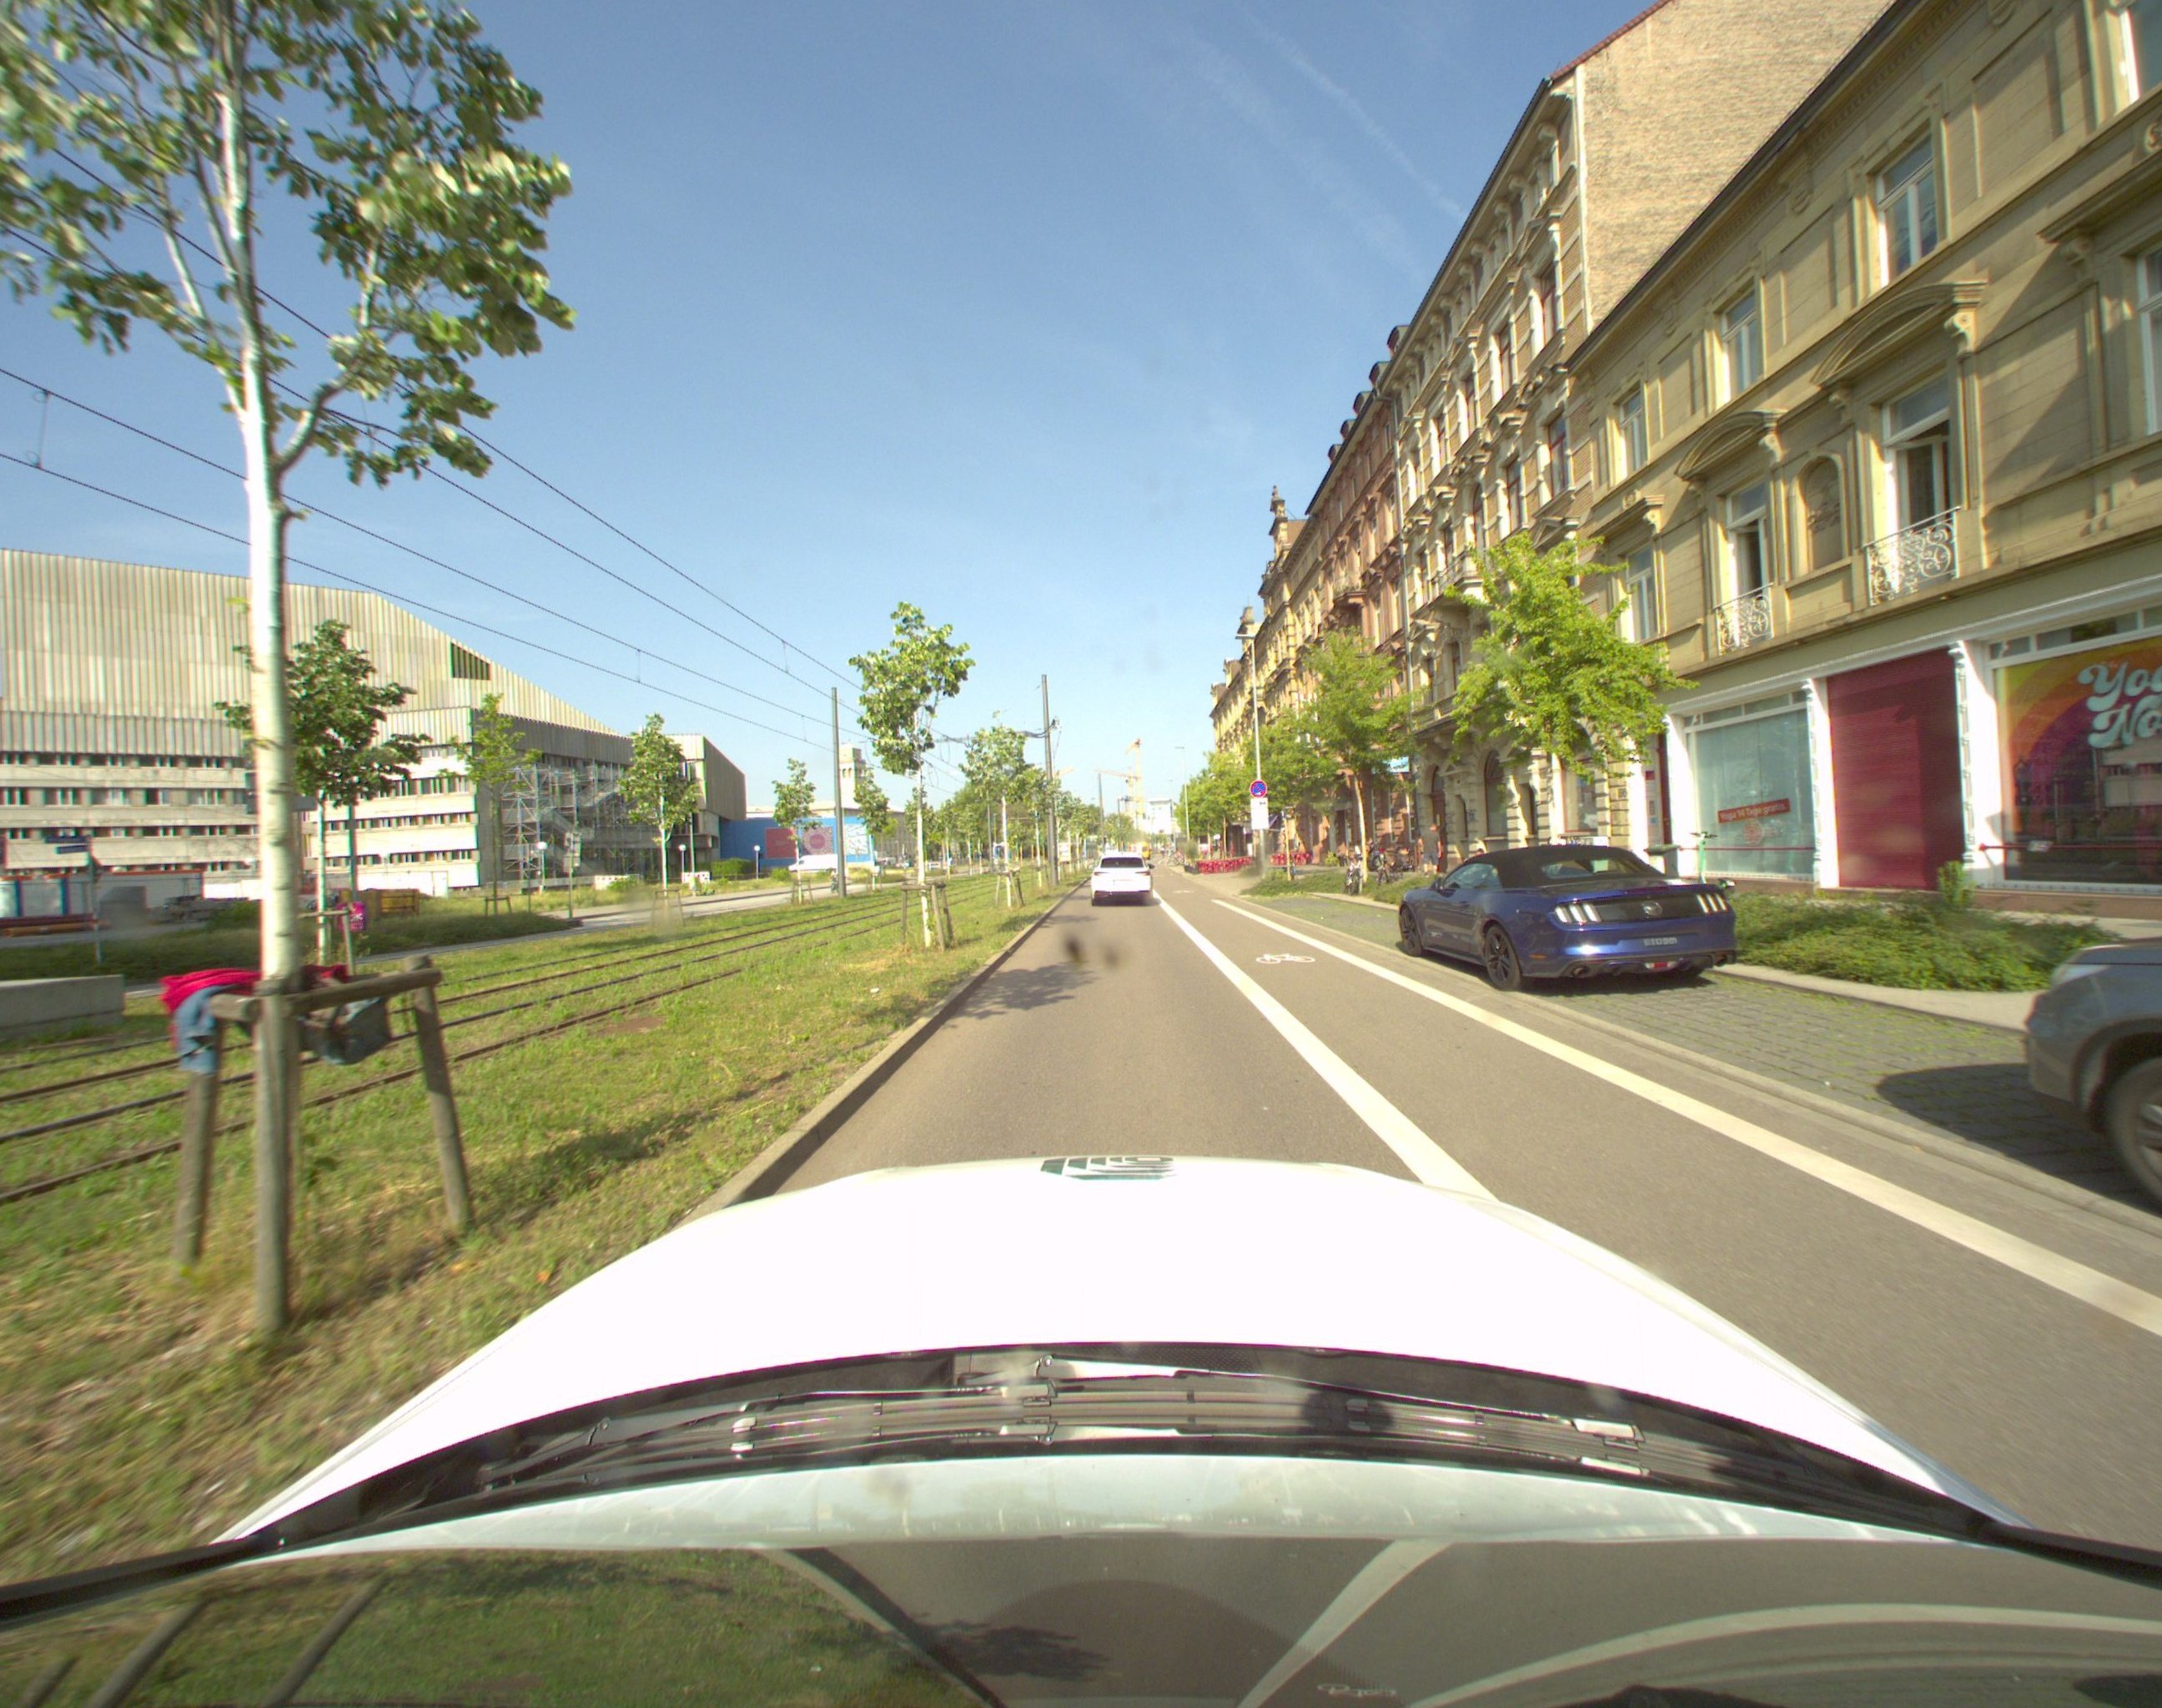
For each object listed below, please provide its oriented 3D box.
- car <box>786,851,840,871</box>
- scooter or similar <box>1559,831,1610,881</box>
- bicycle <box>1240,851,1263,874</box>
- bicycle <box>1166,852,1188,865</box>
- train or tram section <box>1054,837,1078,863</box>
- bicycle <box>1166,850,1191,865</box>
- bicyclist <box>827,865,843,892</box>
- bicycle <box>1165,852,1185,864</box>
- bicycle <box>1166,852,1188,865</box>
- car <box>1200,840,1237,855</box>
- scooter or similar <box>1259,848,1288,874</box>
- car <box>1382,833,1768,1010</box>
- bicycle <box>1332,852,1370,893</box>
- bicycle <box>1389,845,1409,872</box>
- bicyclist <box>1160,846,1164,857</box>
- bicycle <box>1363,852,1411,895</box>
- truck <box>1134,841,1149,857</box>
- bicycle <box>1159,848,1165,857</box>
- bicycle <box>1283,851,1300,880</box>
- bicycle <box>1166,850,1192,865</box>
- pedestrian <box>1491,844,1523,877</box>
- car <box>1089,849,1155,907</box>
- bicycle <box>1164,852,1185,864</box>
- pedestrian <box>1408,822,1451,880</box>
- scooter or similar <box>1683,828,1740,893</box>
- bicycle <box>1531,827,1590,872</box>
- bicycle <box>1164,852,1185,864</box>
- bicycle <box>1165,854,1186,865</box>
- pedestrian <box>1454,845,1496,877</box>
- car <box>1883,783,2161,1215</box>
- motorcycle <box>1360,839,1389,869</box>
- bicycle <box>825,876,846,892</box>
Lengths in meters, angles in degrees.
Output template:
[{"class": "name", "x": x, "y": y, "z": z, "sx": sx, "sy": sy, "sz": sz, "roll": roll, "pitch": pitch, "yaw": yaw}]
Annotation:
[{"class": "car", "x": -36.256, "y": 0.955, "z": 110.415, "sx": 6.895, "sy": 2.638, "sz": 2.498, "roll": 0, "pitch": -1, "yaw": -19}, {"class": "scooter or similar", "x": 11.901, "y": 0.051, "z": 19.284, "sx": 0.604, "sy": 1.125, "sz": 0.932, "roll": -3, "pitch": 0, "yaw": 2}, {"class": "bicycle", "x": 8.547, "y": 0.428, "z": 40.810, "sx": 0.594, "sy": 1.122, "sz": 1.923, "roll": -3, "pitch": 0, "yaw": -4}, {"class": "bicycle", "x": 8.870, "y": 0.416, "z": 75.035, "sx": 1.926, "sy": 0.986, "sz": 0.471, "roll": -5, "pitch": 0, "yaw": 4}, {"class": "train or tram section", "x": -2.159, "y": -0.595, "z": 123.327, "sx": 2.887, "sy": 3.586, "sz": 12.482, "roll": -3, "pitch": -1, "yaw": 2}, {"class": "bicycle", "x": 8.871, "y": 0.322, "z": 74.189, "sx": 2.229, "sy": 1.104, "sz": 0.519, "roll": -5, "pitch": 0, "yaw": 4}, {"class": "bicyclist", "x": -16.514, "y": 1.638, "z": 54.718, "sx": 0.644, "sy": 1.736, "sz": 0.919, "roll": -4, "pitch": -1, "yaw": 2}, {"class": "bicycle", "x": 9.151, "y": 0.399, "z": 79.361, "sx": 1.924, "sy": 0.945, "sz": 0.441, "roll": -5, "pitch": 0, "yaw": 6}, {"class": "bicycle", "x": 8.920, "y": 0.419, "z": 75.514, "sx": 1.946, "sy": 0.986, "sz": 0.471, "roll": -5, "pitch": 0, "yaw": 4}, {"class": "car", "x": 16.818, "y": -0.771, "z": 99.785, "sx": 4.329, "sy": 1.684, "sz": 2.005, "roll": -3, "pitch": 0, "yaw": 8}, {"class": "scooter or similar", "x": 9.356, "y": 0.334, "z": 39.653, "sx": 1.250, "sy": 1.157, "sz": 0.340, "roll": -5, "pitch": -1, "yaw": 6}, {"class": "car", "x": 5.071, "y": 0.568, "z": 9.304, "sx": 1.729, "sy": 1.396, "sz": 4.719, "roll": -4, "pitch": 0, "yaw": 4}, {"class": "bicycle", "x": 7.553, "y": 0.490, "z": 22.853, "sx": 0.490, "sy": 1.093, "sz": 1.828, "roll": -3, "pitch": 0, "yaw": 3}, {"class": "bicycle", "x": 12.340, "y": 0.166, "z": 31.595, "sx": 0.394, "sy": 1.018, "sz": 1.258, "roll": -3, "pitch": 0, "yaw": 8}, {"class": "bicyclist", "x": 14.165, "y": -0.392, "z": 142.361, "sx": 0.706, "sy": 1.895, "sz": 0.844, "roll": -3, "pitch": 0, "yaw": 4}, {"class": "bicycle", "x": 8.257, "y": 0.517, "z": 21.940, "sx": 0.449, "sy": 1.082, "sz": 1.889, "roll": -5, "pitch": -3, "yaw": 44}, {"class": "truck", "x": 9.251, "y": -0.713, "z": 124.136, "sx": 2.202, "sy": 2.318, "sz": 5.897, "roll": -3, "pitch": 0, "yaw": 5}, {"class": "bicycle", "x": 14.148, "y": -0.208, "z": 142.523, "sx": 0.778, "sy": 1.496, "sz": 2.804, "roll": -3, "pitch": 0, "yaw": 4}, {"class": "bicycle", "x": 8.435, "y": 0.462, "z": 32.655, "sx": 0.501, "sy": 1.060, "sz": 1.721, "roll": -5, "pitch": 0, "yaw": 17}, {"class": "bicycle", "x": 8.819, "y": 0.318, "z": 73.635, "sx": 2.229, "sy": 1.104, "sz": 0.589, "roll": -5, "pitch": 0, "yaw": 4}, {"class": "pedestrian", "x": 11.881, "y": 0.186, "z": 22.720, "sx": 0.569, "sy": 0.855, "sz": 0.457, "roll": -5, "pitch": 0, "yaw": -3}, {"class": "car", "x": 1.265, "y": 0.678, "z": 25.241, "sx": 1.810, "sy": 1.590, "sz": 4.409, "roll": -2, "pitch": 0, "yaw": 2}, {"class": "bicycle", "x": 9.095, "y": 0.396, "z": 78.883, "sx": 1.924, "sy": 0.945, "sz": 0.441, "roll": -5, "pitch": 0, "yaw": 6}, {"class": "pedestrian", "x": 10.680, "y": -0.097, "z": 24.963, "sx": 0.821, "sy": 1.696, "sz": 0.793, "roll": -5, "pitch": 0, "yaw": -2}, {"class": "scooter or similar", "x": 11.501, "y": 0.110, "z": 14.888, "sx": 0.287, "sy": 1.134, "sz": 1.091, "roll": -3, "pitch": 0, "yaw": 8}, {"class": "bicycle", "x": 12.065, "y": -0.114, "z": 20.542, "sx": 0.450, "sy": 1.083, "sz": 1.445, "roll": -3, "pitch": 0, "yaw": -7}, {"class": "bicycle", "x": 9.044, "y": 0.415, "z": 78.434, "sx": 1.924, "sy": 1.013, "sz": 0.441, "roll": -5, "pitch": 0, "yaw": 6}, {"class": "bicycle", "x": 8.919, "y": 0.538, "z": 76.747, "sx": 1.926, "sy": 0.874, "sz": 0.441, "roll": -5, "pitch": 0, "yaw": 4}, {"class": "pedestrian", "x": 11.804, "y": 0.195, "z": 24.420, "sx": 0.875, "sy": 0.876, "sz": 0.711, "roll": -5, "pitch": 0, "yaw": -1}, {"class": "car", "x": 4.840, "y": 0.484, "z": 1.842, "sx": 1.764, "sy": 1.588, "sz": 4.246, "roll": -4, "pitch": 0, "yaw": -1}, {"class": "motorcycle", "x": 11.984, "y": 0.010, "z": 33.305, "sx": 0.461, "sy": 1.175, "sz": 1.947, "roll": -5, "pitch": 0, "yaw": 3}, {"class": "bicycle", "x": -16.498, "y": 2.006, "z": 54.735, "sx": 0.659, "sy": 0.961, "sz": 2.079, "roll": -4, "pitch": -1, "yaw": 3}]
